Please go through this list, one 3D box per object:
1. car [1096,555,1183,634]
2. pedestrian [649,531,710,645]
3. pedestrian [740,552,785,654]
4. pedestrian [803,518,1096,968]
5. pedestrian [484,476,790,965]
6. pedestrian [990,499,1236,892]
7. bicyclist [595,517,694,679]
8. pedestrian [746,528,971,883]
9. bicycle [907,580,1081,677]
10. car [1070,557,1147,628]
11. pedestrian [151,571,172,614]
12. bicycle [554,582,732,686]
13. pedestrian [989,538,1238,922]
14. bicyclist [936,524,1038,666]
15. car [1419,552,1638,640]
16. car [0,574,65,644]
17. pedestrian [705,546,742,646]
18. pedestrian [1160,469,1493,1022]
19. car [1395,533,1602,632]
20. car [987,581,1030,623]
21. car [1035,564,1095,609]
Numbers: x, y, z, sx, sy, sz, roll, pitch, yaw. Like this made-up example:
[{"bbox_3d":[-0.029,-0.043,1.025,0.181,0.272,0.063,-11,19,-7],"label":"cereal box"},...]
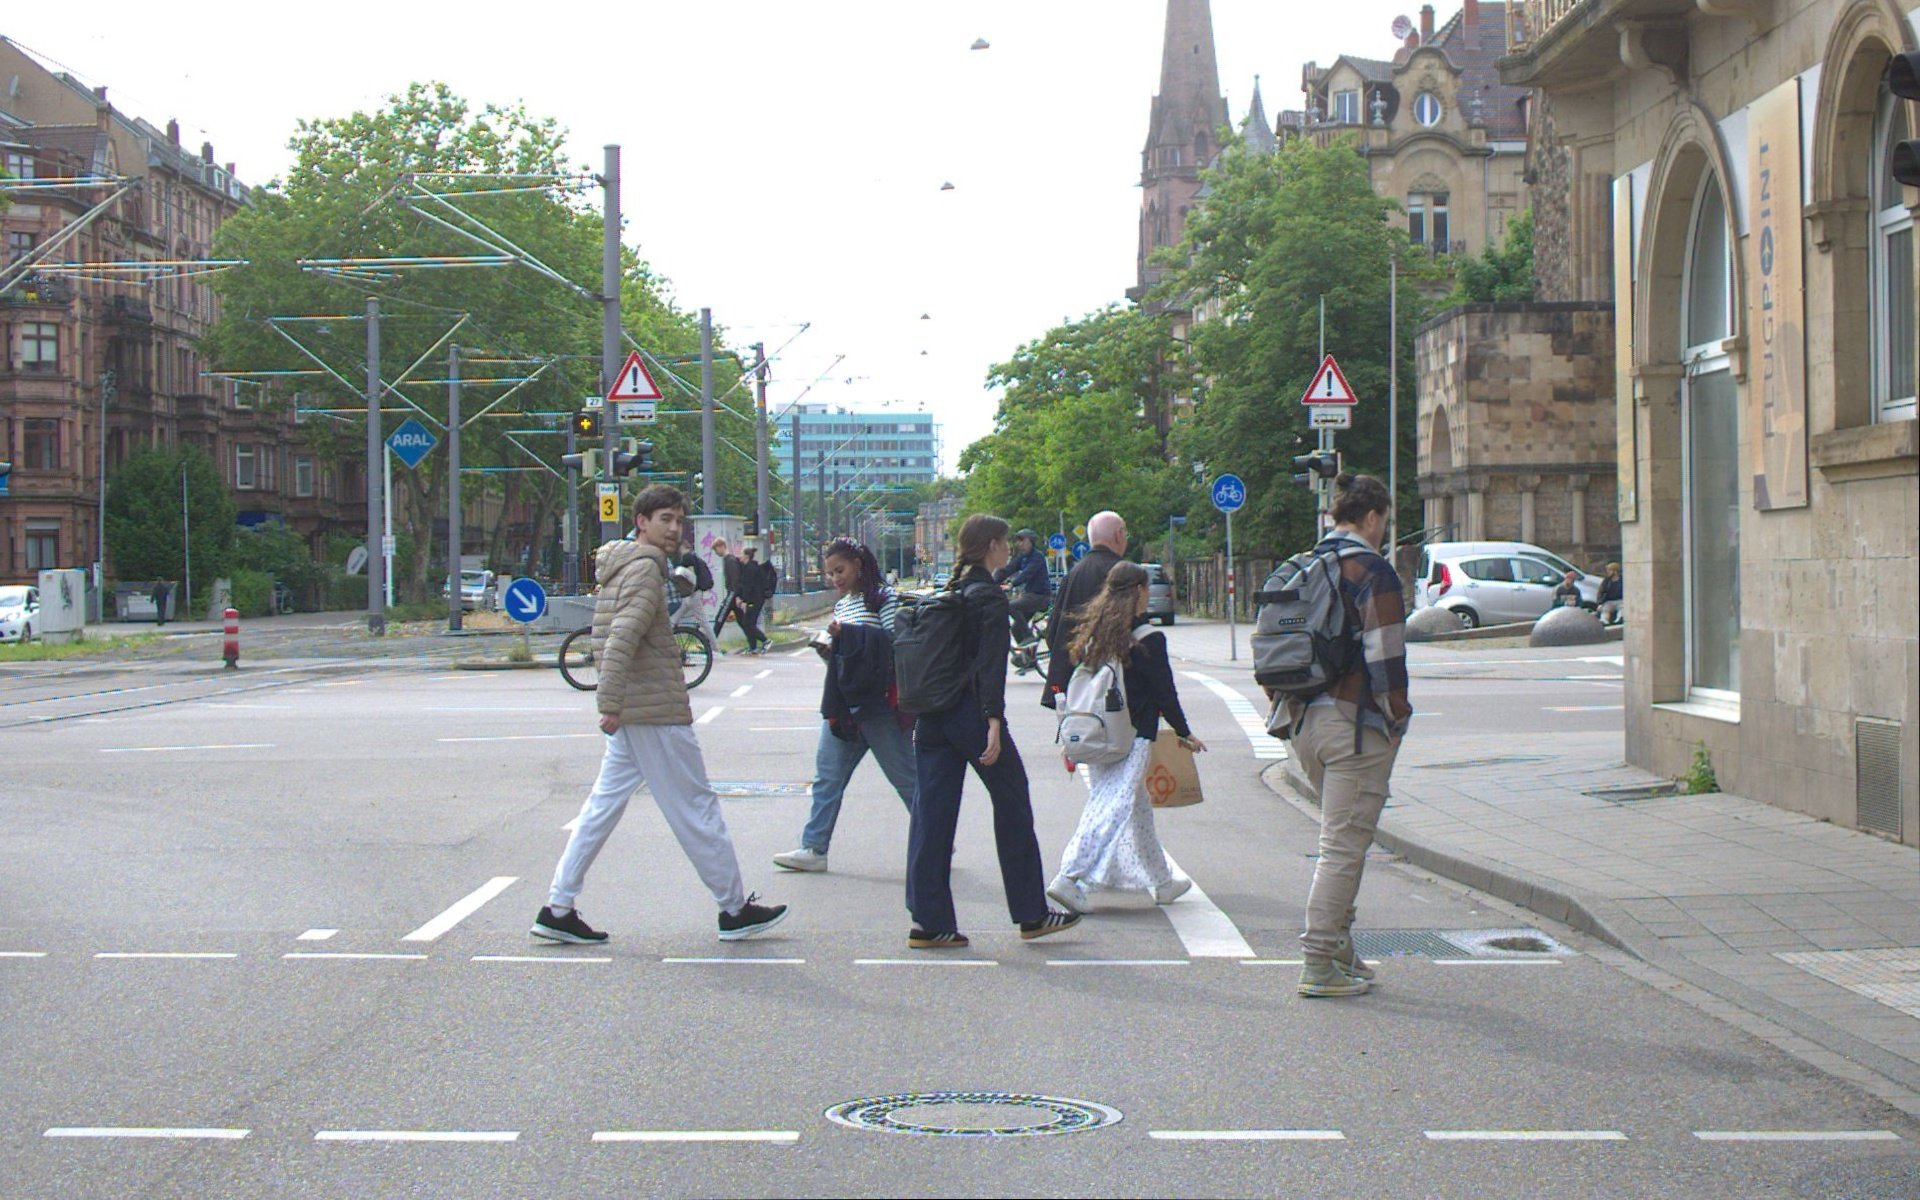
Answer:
[{"bbox_3d":[4.699,-0.151,90.528,1.993,2.007,4.000,1,0,-1],"label":"car"},{"bbox_3d":[-4.080,-0.173,50.055,0.850,1.649,0.508,1,0,-2],"label":"pedestrian"},{"bbox_3d":[-3.006,0.040,52.234,0.653,1.532,0.466,1,0,-5],"label":"pedestrian"},{"bbox_3d":[-0.031,0.521,13.181,0.627,1.647,0.994,1,0,37],"label":"pedestrian"},{"bbox_3d":[-1.242,0.447,13.178,1.011,1.807,0.585,1,0,-23],"label":"pedestrian"},{"bbox_3d":[0.716,0.424,16.075,0.917,1.778,0.646,1,0,37],"label":"pedestrian"},{"bbox_3d":[-3.564,-0.022,38.828,0.965,1.813,0.532,1,0,-29],"label":"bicyclist"},{"bbox_3d":[-0.490,0.493,16.769,0.671,1.674,0.866,1,0,38],"label":"pedestrian"},{"bbox_3d":[0.404,0.342,41.306,1.937,1.132,0.736,1,0,-21],"label":"bicycle"},{"bbox_3d":[4.294,-0.224,100.102,1.993,2.007,4.000,1,0,-1],"label":"car"},{"bbox_3d":[-26.910,-0.256,115.861,0.524,1.455,0.452,1,0,-42],"label":"pedestrian"},{"bbox_3d":[-3.572,0.385,38.812,1.899,1.138,0.629,1,0,-29],"label":"bicycle"},{"bbox_3d":[0.665,0.538,14.778,0.702,1.587,0.829,1,0,37],"label":"pedestrian"},{"bbox_3d":[0.326,-0.062,41.233,1.038,1.678,0.645,1,0,-20],"label":"bicyclist"},{"bbox_3d":[10.776,-0.086,65.338,3.799,1.595,2.000,1,0,0],"label":"car"},{"bbox_3d":[-22.178,0.181,79.692,1.894,1.552,3.836,1,0,-1],"label":"car"},{"bbox_3d":[-3.628,-0.063,52.782,0.545,1.532,0.466,1,0,-5],"label":"pedestrian"},{"bbox_3d":[1.256,0.464,11.658,0.627,1.772,1.131,0,0,37],"label":"pedestrian"},{"bbox_3d":[10.741,-0.346,68.747,3.799,1.897,2.000,1,0,0],"label":"car"},{"bbox_3d":[2.418,0.090,172.474,1.993,2.007,4.000,1,0,-1],"label":"car"},{"bbox_3d":[3.926,-0.507,128.916,1.993,1.602,4.164,-2,0,-1],"label":"car"}]
